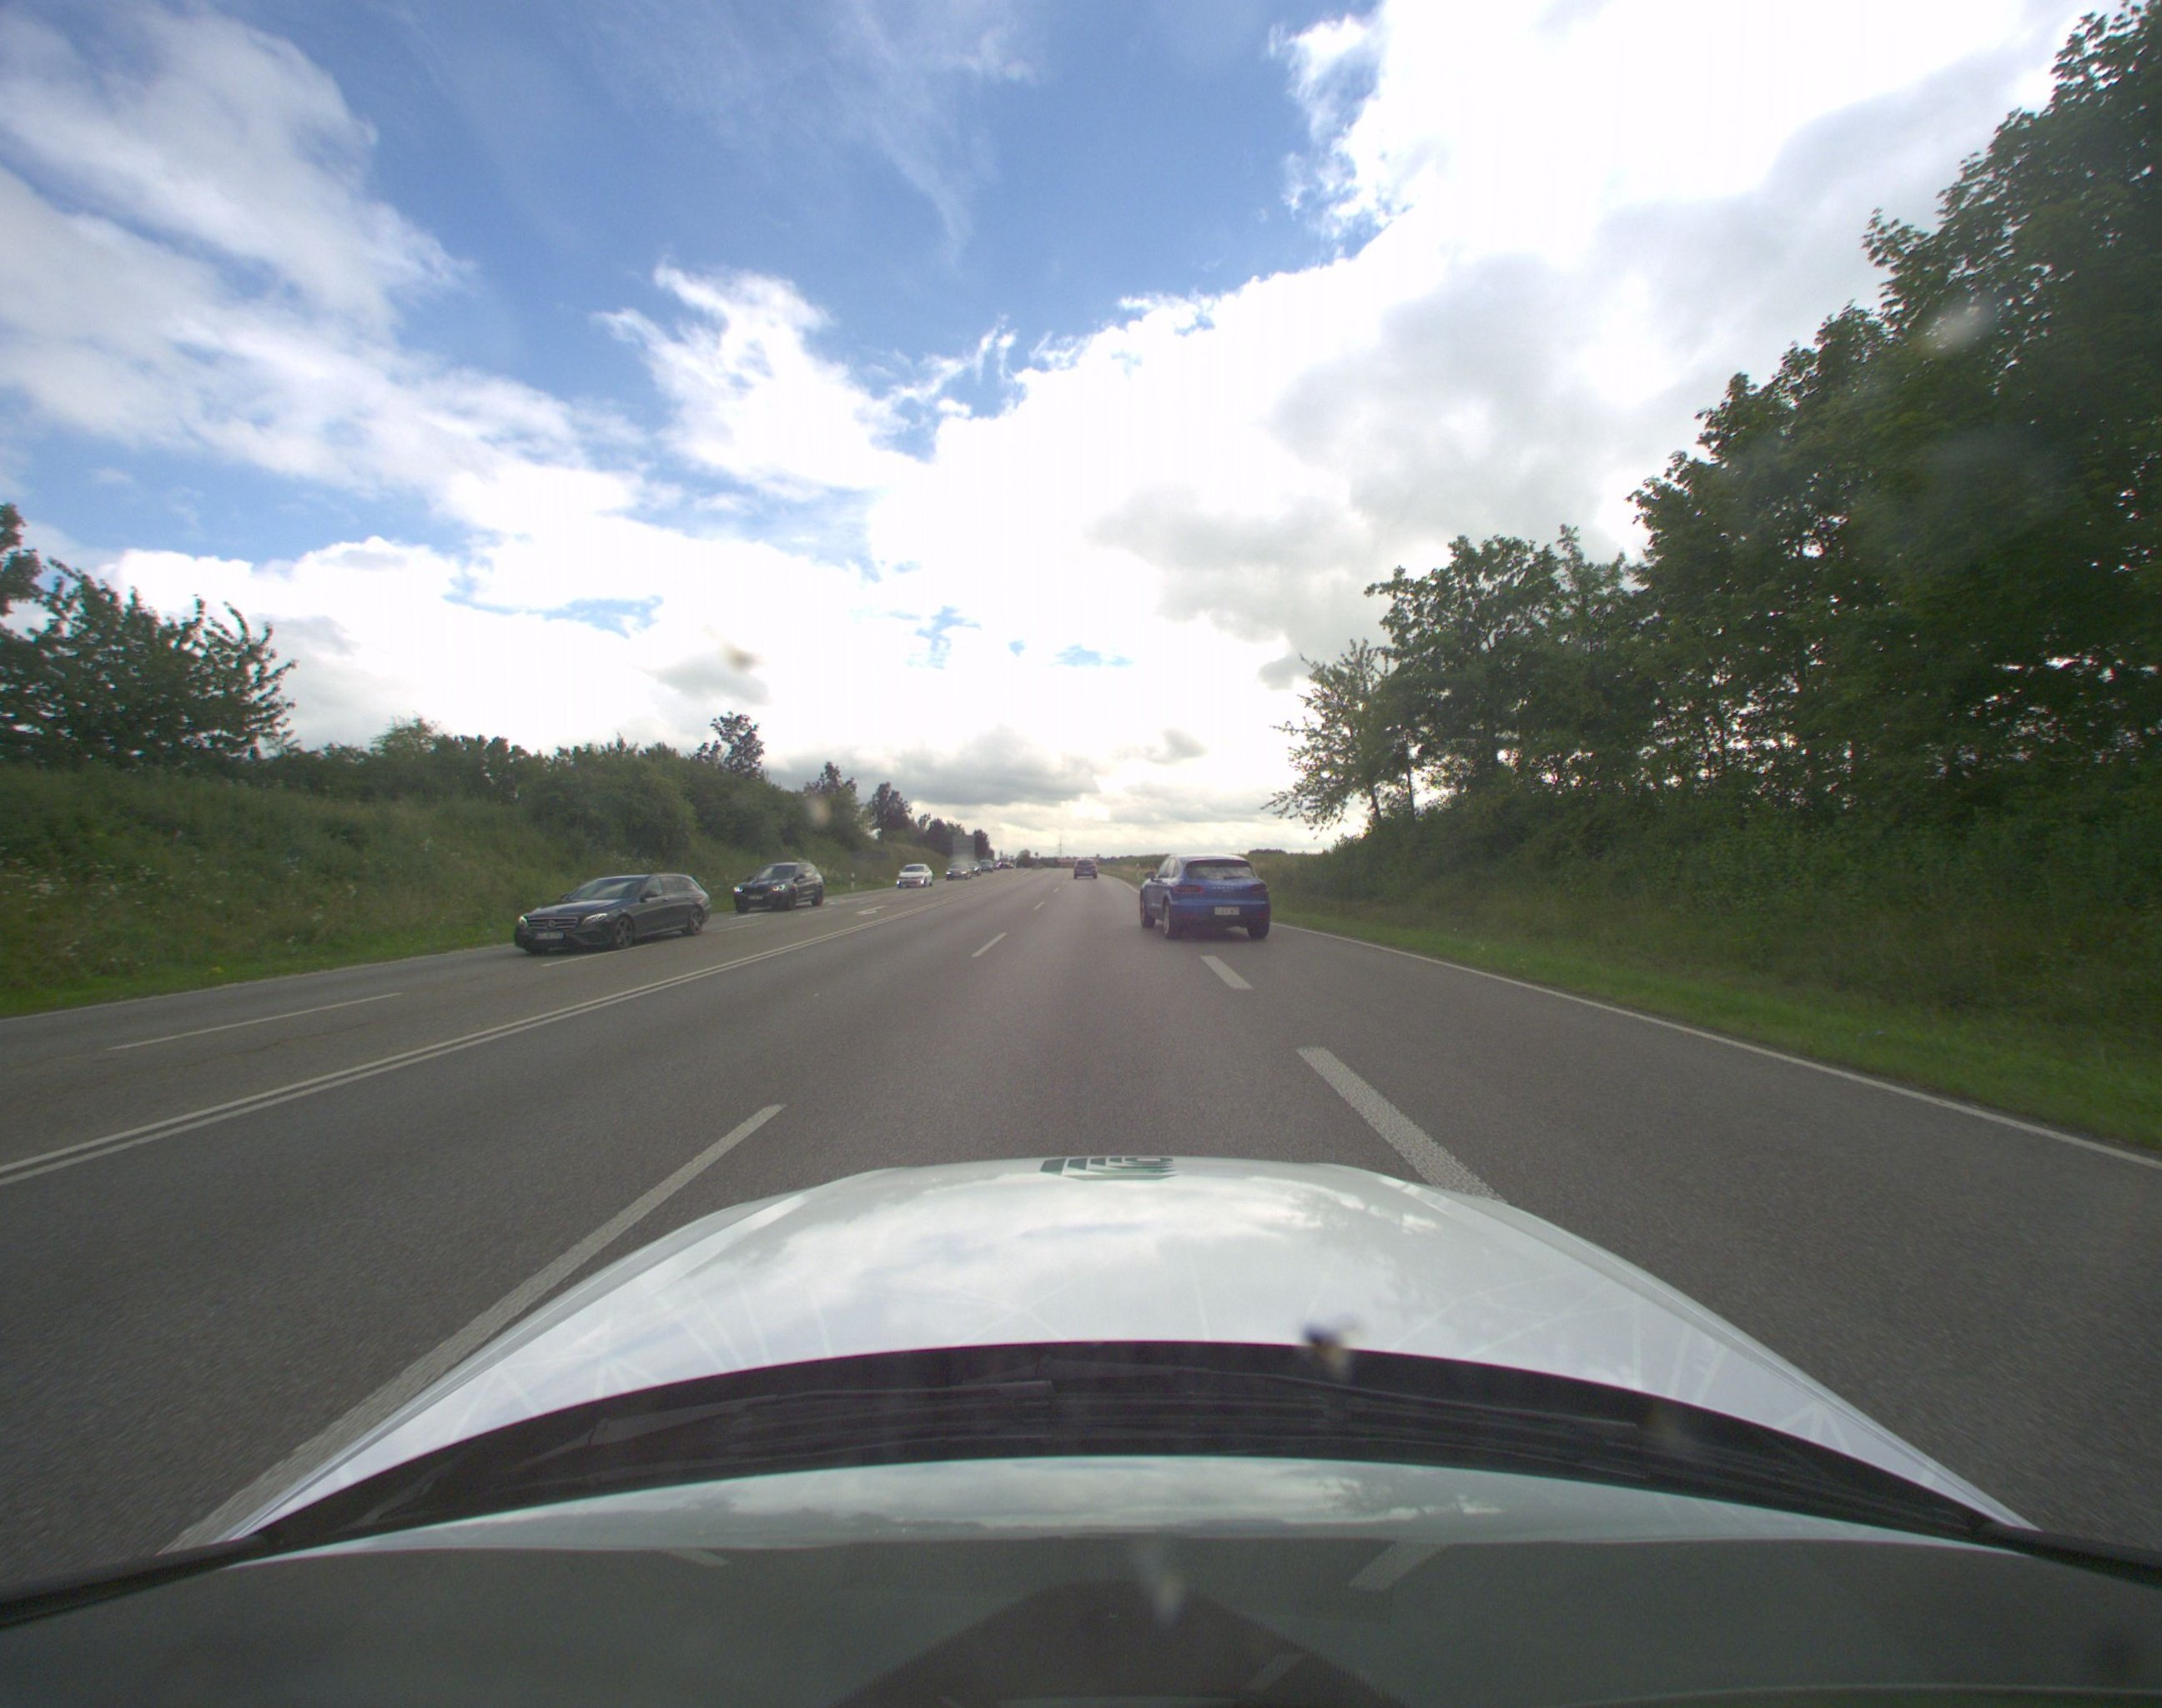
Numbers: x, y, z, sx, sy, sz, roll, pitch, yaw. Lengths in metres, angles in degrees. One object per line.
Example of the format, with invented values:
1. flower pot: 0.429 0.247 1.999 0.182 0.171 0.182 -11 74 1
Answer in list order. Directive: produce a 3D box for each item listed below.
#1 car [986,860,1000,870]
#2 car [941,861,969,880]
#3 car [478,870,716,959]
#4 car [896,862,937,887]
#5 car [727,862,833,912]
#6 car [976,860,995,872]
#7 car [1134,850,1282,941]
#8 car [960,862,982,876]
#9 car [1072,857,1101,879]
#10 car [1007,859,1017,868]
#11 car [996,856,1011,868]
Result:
1. car: -14.135 1.789 131.350 1.989 1.491 3.996 -2 0 -3
2. car: -10.851 1.388 70.259 1.990 1.508 3.994 -1 0 -4
3. car: -9.889 1.146 17.265 1.987 1.494 4.993 -2 0 1
4. car: -10.410 1.264 51.925 1.662 1.442 4.147 -1 0 1
5. car: -10.863 1.129 29.804 1.987 1.610 4.991 -1 0 0
6. car: -12.444 1.503 106.026 1.988 1.508 3.998 -1 0 -1
7. car: 2.407 0.751 16.804 1.990 1.570 4.749 -1 0 -4
8. car: -11.730 1.585 87.035 1.792 1.486 4.165 -2 0 -2
9. car: 0.346 1.015 60.949 1.989 1.535 3.996 0 0 -3
10. car: -16.975 2.329 198.999 2.360 2.211 5.297 -2 0 -5
11. car: -14.596 1.449 153.882 2.357 2.211 5.917 -2 0 -2
